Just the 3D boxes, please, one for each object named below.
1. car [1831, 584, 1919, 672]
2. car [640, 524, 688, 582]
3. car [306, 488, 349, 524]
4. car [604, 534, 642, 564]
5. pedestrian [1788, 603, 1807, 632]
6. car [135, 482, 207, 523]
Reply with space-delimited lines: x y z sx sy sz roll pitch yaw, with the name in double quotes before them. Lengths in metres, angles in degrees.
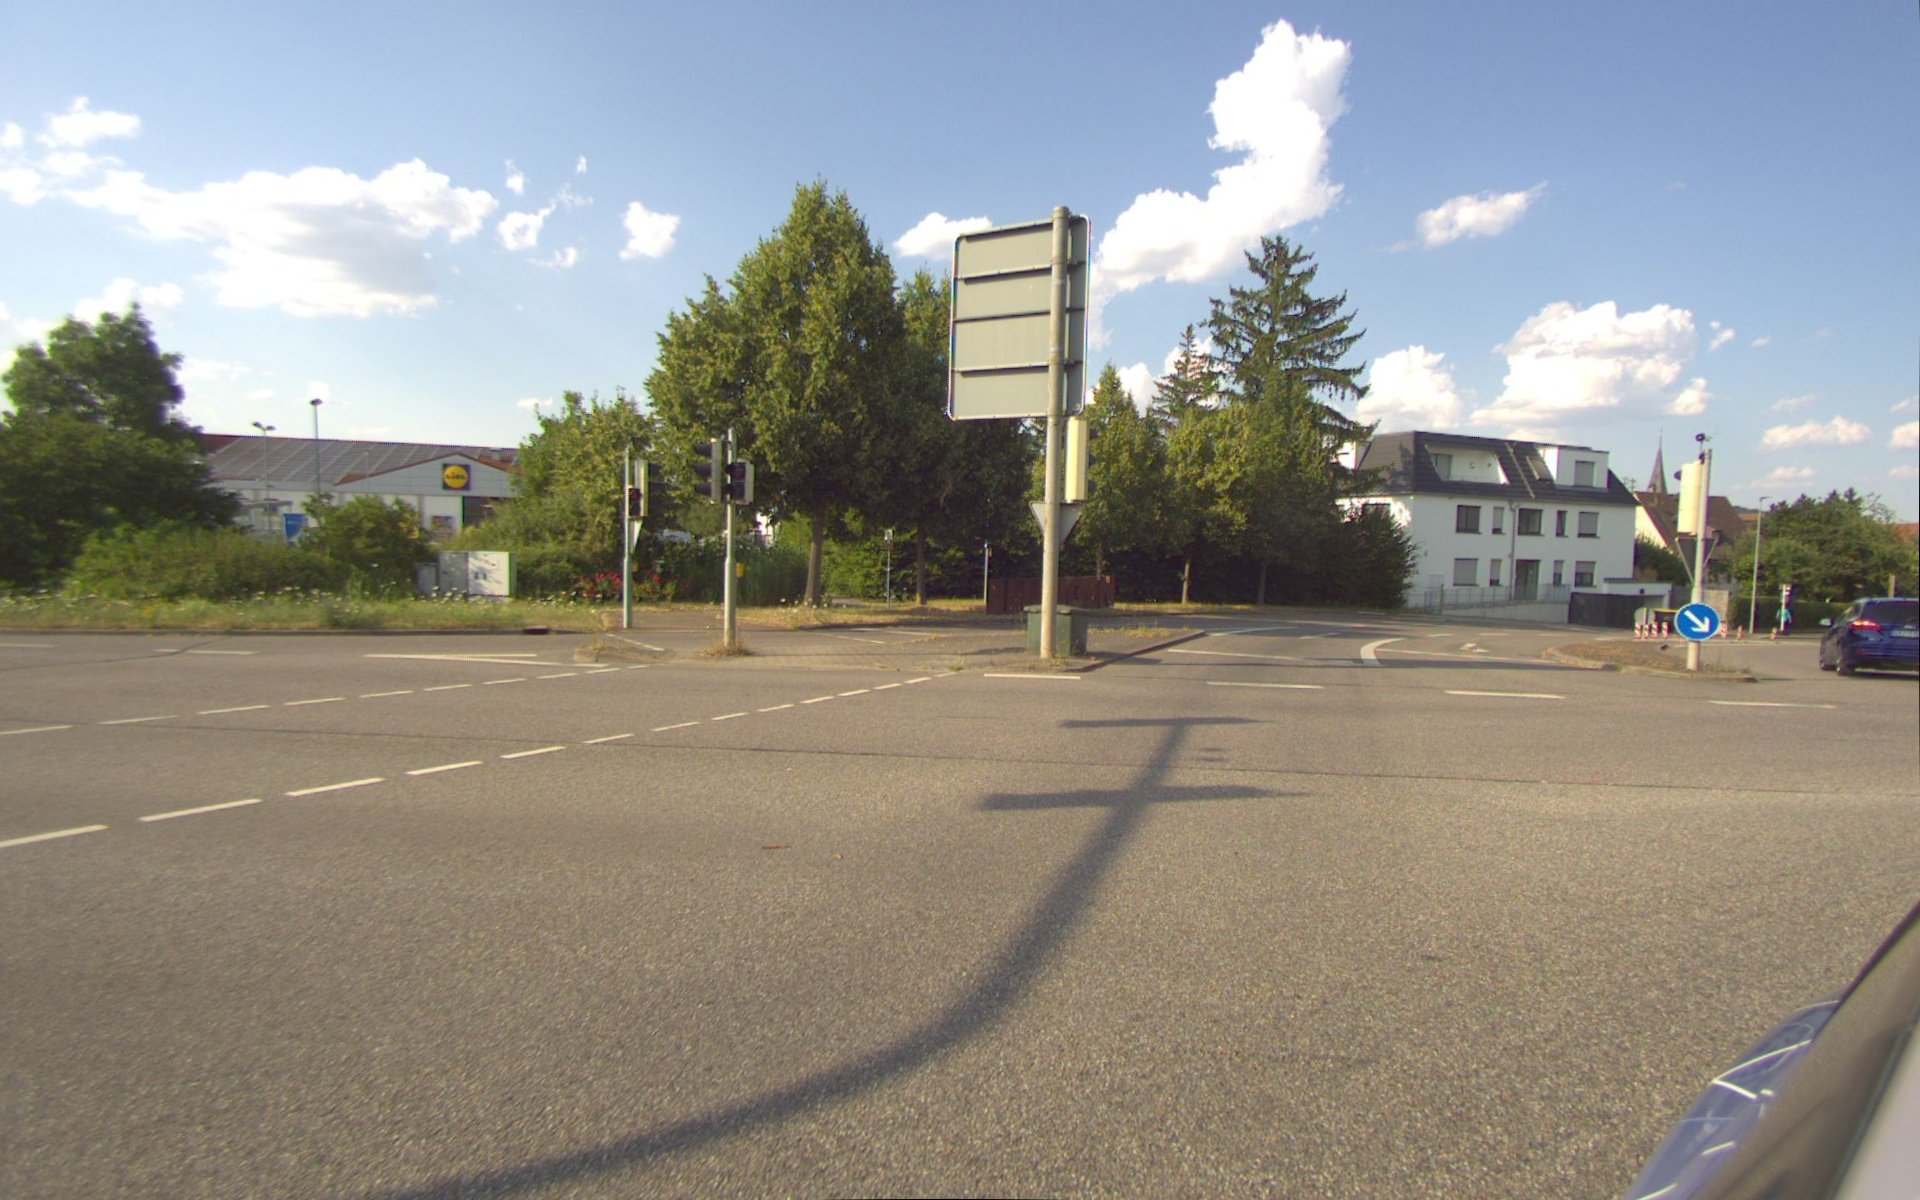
"car" 17.927 0.492 19.254 1.784 1.516 4.243 1 0 37
"car" -14.018 -2.172 47.728 1.958 2.537 5.151 0 2 -19
"car" -40.903 -6.034 65.494 1.918 2.038 4.008 0 2 -25
"car" -24.193 -3.648 72.622 1.959 2.038 4.007 0 2 -27
"pedestrian" 50.496 1.040 61.028 0.626 1.750 0.619 0 1 -26
"car" -45.297 -5.542 58.208 2.270 2.038 4.009 0 2 -23
